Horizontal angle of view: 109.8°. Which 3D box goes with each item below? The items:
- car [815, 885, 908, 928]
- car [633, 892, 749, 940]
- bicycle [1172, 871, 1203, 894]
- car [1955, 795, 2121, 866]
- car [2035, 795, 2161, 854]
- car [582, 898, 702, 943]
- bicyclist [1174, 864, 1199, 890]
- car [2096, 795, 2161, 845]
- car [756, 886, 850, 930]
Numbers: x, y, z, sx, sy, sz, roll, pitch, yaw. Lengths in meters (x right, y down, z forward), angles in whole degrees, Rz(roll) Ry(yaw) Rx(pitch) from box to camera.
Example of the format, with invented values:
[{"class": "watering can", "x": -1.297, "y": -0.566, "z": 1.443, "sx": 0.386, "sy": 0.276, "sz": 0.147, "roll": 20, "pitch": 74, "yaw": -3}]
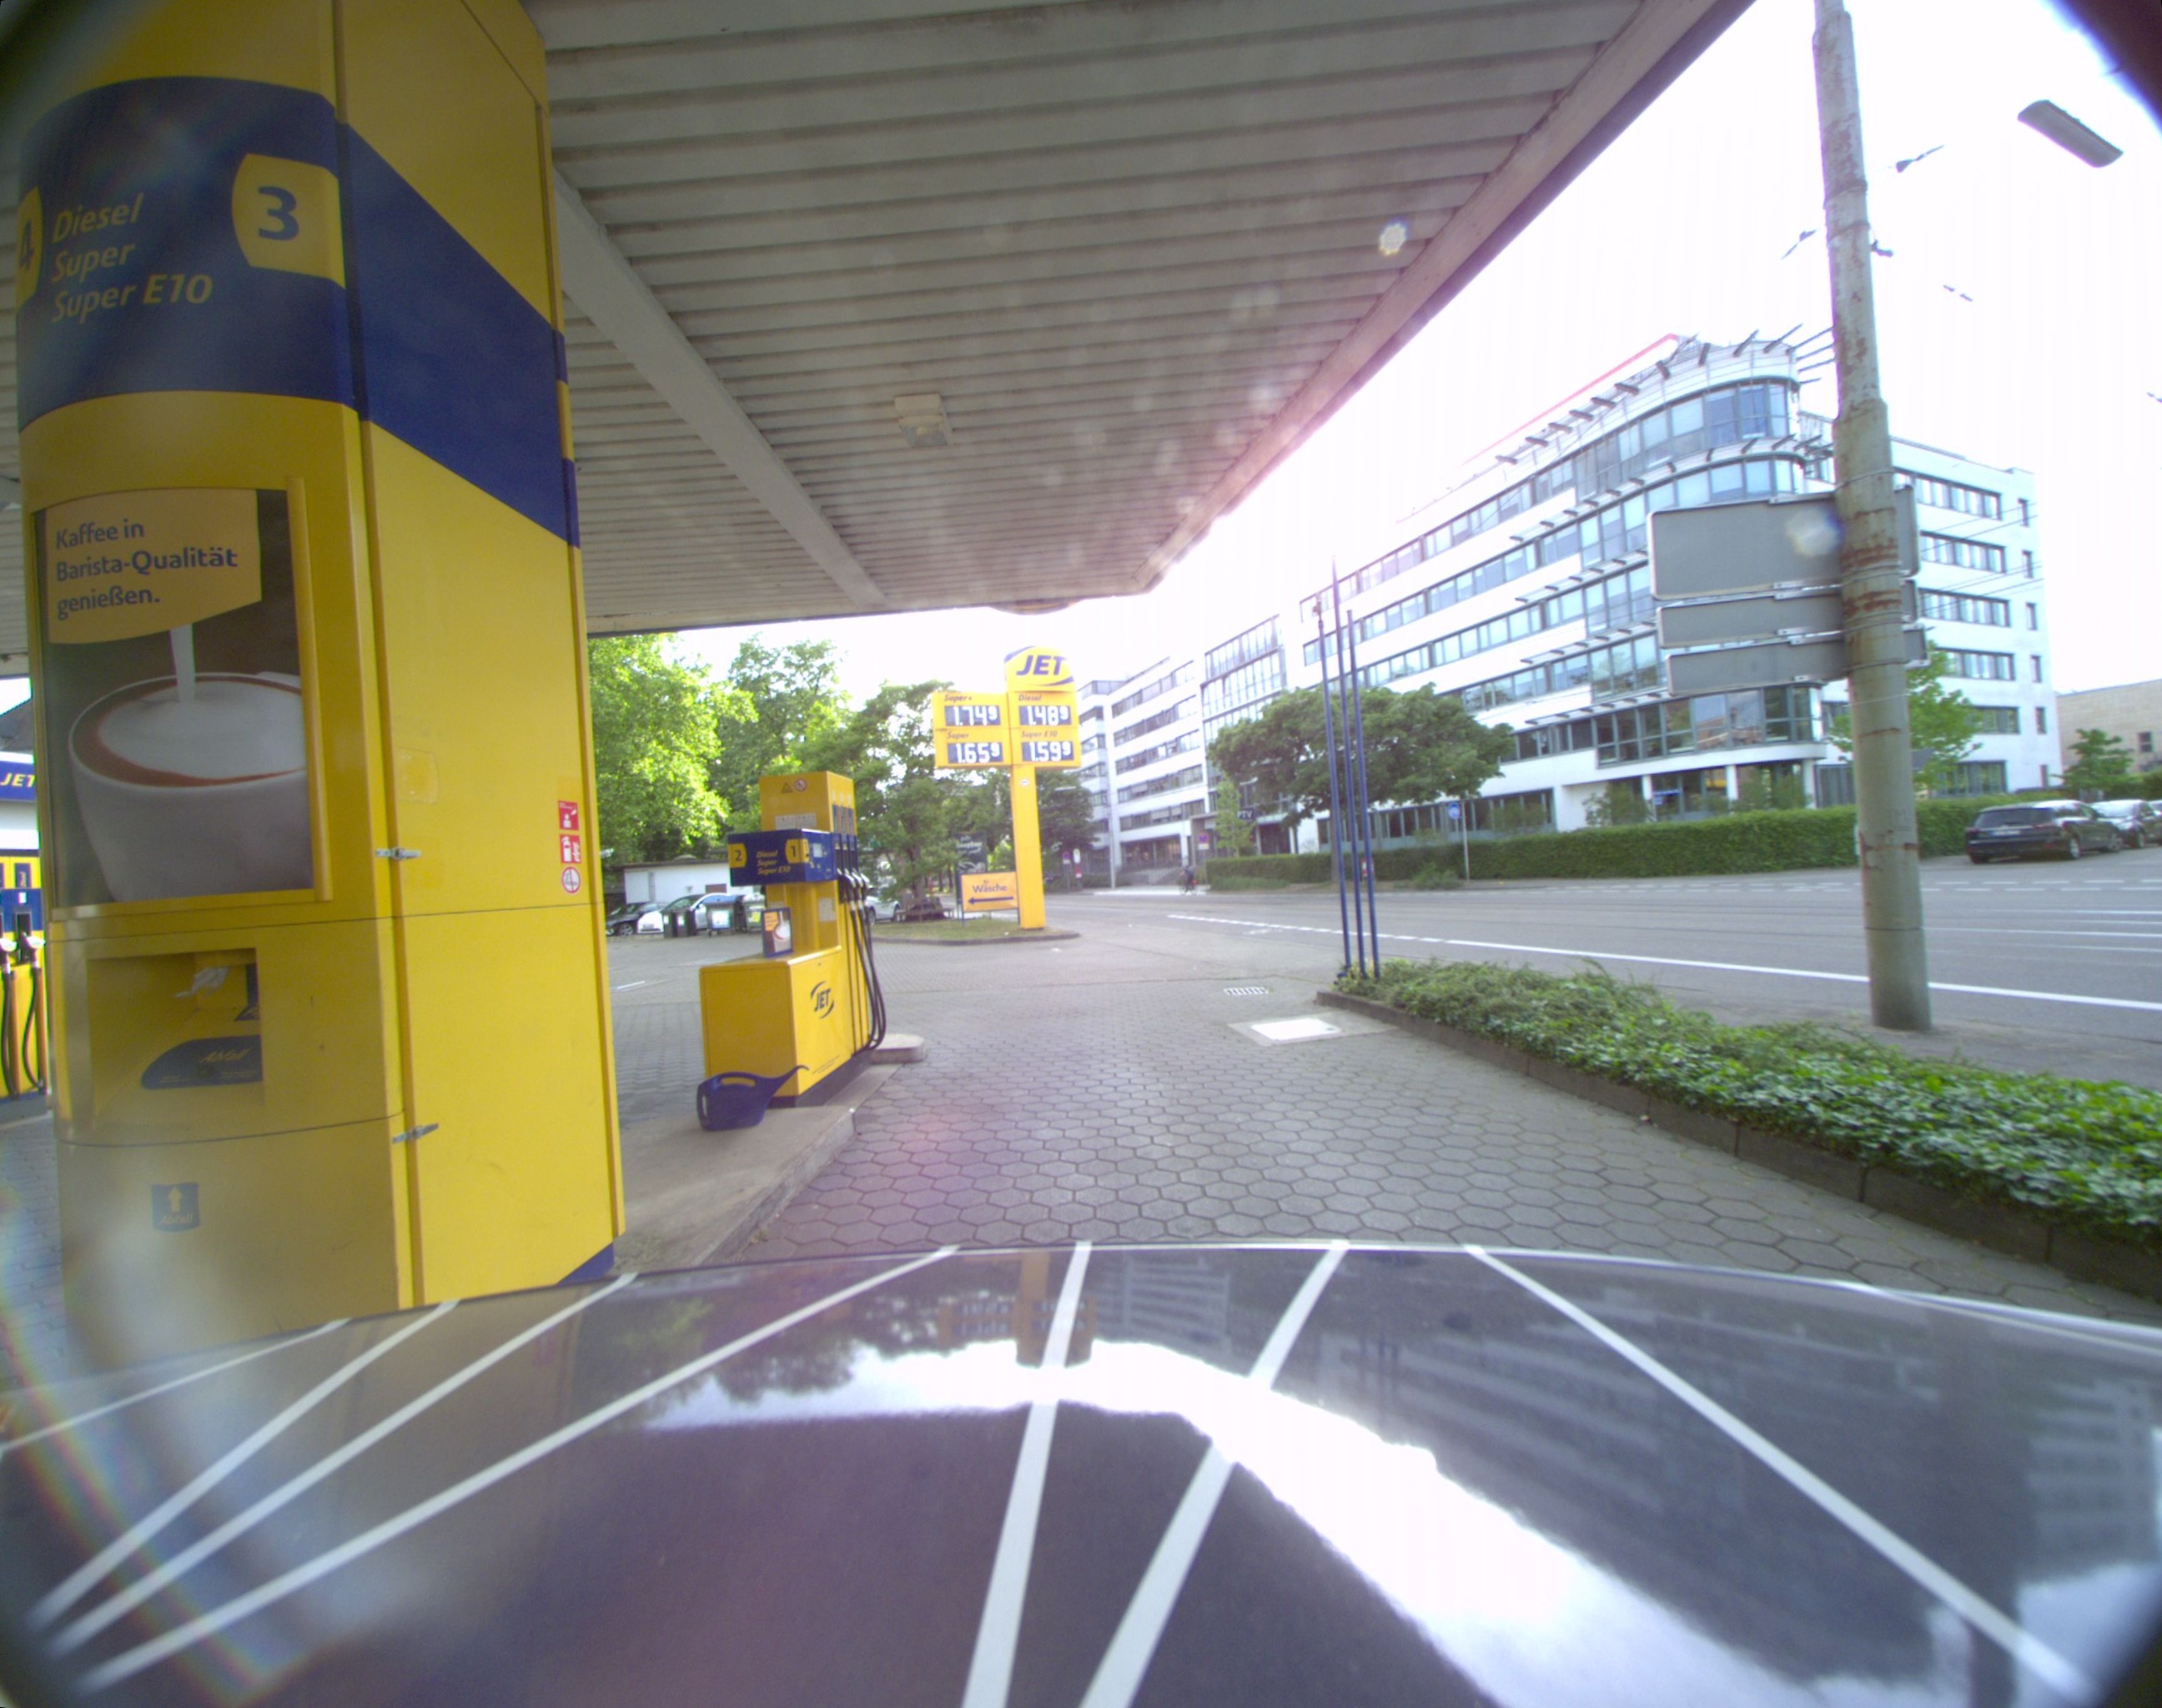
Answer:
[{"class": "car", "x": -8.657, "y": 2.043, "z": 30.386, "sx": 1.823, "sy": 1.449, "sz": 4.200, "roll": -4, "pitch": -2, "yaw": 10}, {"class": "car", "x": -15.390, "y": 2.407, "z": 30.262, "sx": 1.823, "sy": 1.575, "sz": 4.200, "roll": -4, "pitch": -2, "yaw": 10}, {"class": "bicycle", "x": 6.041, "y": 1.586, "z": 43.244, "sx": 0.792, "sy": 1.232, "sz": 1.879, "roll": -3, "pitch": 1, "yaw": -27}, {"class": "car", "x": 27.418, "y": -0.668, "z": 21.764, "sx": 4.397, "sy": 1.678, "sz": 1.820, "roll": -4, "pitch": -1, "yaw": -24}, {"class": "car", "x": 32.576, "y": -0.958, "z": 24.074, "sx": 4.201, "sy": 1.568, "sz": 1.820, "roll": -4, "pitch": -1, "yaw": -24}, {"class": "car", "x": -17.534, "y": 2.626, "z": 30.617, "sx": 1.823, "sy": 1.426, "sz": 4.200, "roll": -4, "pitch": -2, "yaw": 10}, {"class": "bicyclist", "x": 6.003, "y": 1.281, "z": 43.295, "sx": 0.792, "sy": 1.443, "sz": 1.173, "roll": -3, "pitch": 1, "yaw": -27}, {"class": "car", "x": 37.105, "y": -1.252, "z": 26.022, "sx": 4.201, "sy": 1.568, "sz": 1.820, "roll": -4, "pitch": -1, "yaw": -24}, {"class": "car", "x": -11.747, "y": 2.260, "z": 32.474, "sx": 1.823, "sy": 1.575, "sz": 4.200, "roll": -4, "pitch": -2, "yaw": 10}]
